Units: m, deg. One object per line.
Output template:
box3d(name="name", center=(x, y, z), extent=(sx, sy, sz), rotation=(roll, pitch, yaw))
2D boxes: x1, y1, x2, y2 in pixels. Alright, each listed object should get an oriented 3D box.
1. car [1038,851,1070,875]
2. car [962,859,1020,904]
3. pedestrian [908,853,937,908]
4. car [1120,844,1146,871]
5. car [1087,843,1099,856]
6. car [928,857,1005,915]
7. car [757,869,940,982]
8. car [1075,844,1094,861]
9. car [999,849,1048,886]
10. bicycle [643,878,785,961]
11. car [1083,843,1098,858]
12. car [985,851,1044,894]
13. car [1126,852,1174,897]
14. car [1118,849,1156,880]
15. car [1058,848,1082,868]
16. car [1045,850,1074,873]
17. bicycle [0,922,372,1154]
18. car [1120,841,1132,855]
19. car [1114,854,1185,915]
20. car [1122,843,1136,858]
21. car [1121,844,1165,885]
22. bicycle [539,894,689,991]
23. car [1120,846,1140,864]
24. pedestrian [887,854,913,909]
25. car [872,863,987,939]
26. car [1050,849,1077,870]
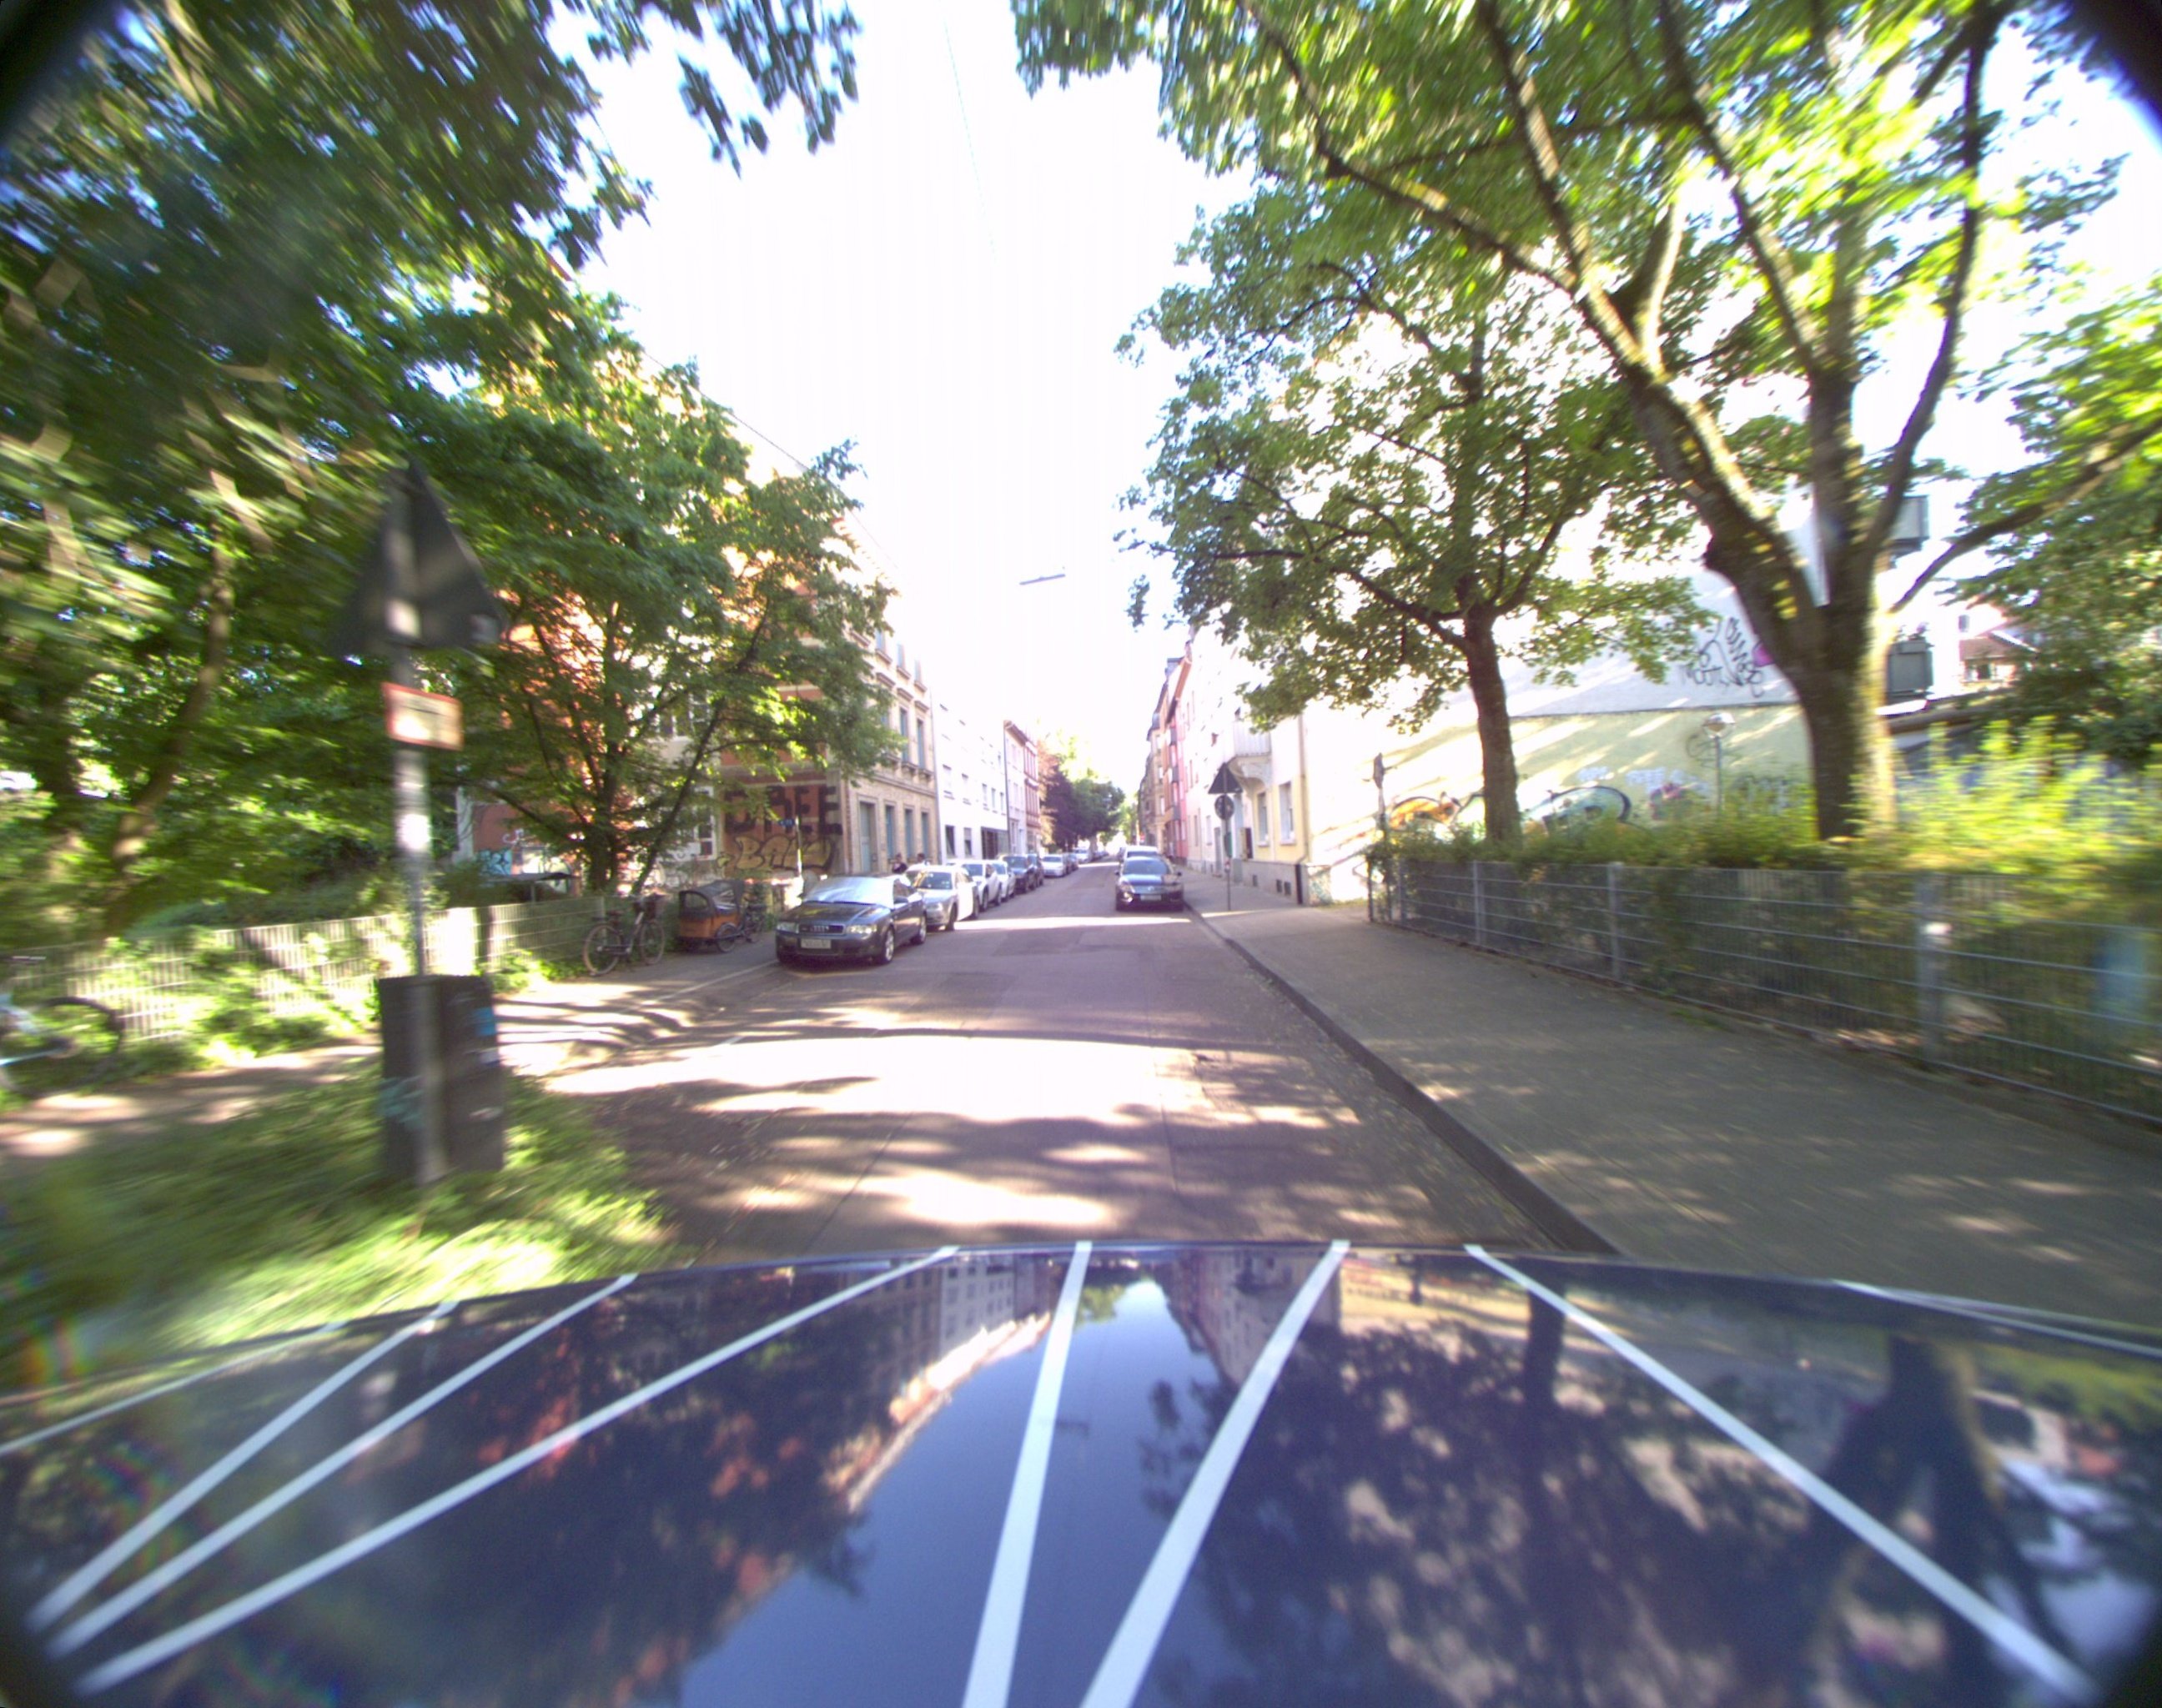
box3d(name="car", center=(-1.754, 0.557, 50.385), extent=(1.768, 1.509, 4.103), rotation=(0, 1, 3))
box3d(name="car", center=(-3.240, 0.961, 28.022), extent=(1.597, 1.442, 4.003), rotation=(-1, 1, 1))
box3d(name="pedestrian", center=(-5.026, 0.824, 24.087), extent=(0.712, 1.699, 0.752), rotation=(1, 1, 3))
box3d(name="car", center=(3.655, 0.230, 54.087), extent=(1.768, 1.814, 4.103), rotation=(0, 1, 3))
box3d(name="car", center=(1.836, -0.710, 117.052), extent=(1.768, 2.006, 4.264), rotation=(0, 1, 3))
box3d(name="car", center=(-3.459, 0.923, 23.550), extent=(1.597, 1.576, 3.764), rotation=(-1, 1, 3))
box3d(name="car", center=(-3.848, 1.107, 13.442), extent=(1.725, 1.485, 4.414), rotation=(-1, 1, 2))
box3d(name="car", center=(0.436, -0.210, 91.838), extent=(1.865, 1.970, 4.482), rotation=(0, 1, 6))
box3d(name="car", center=(-2.797, 0.624, 37.844), extent=(1.885, 1.657, 4.328), rotation=(0, 1, 3))
box3d(name="bicycle", center=(-6.665, 1.152, 14.013), extent=(1.293, 1.294, 2.327), rotation=(0, 1, 6))
box3d(name="car", center=(1.266, -0.512, 98.398), extent=(1.768, 1.846, 4.286), rotation=(-2, 1, 3))
box3d(name="car", center=(-2.791, 0.734, 32.673), extent=(1.770, 1.657, 4.329), rotation=(-2, 1, 5))
box3d(name="car", center=(2.448, 0.675, 27.145), extent=(1.597, 1.442, 3.486), rotation=(0, 1, 5))
box3d(name="car", center=(2.969, 0.498, 39.642), extent=(1.674, 1.519, 4.087), rotation=(0, 1, 8))
box3d(name="car", center=(-0.941, 0.311, 64.562), extent=(1.768, 1.525, 4.103), rotation=(0, 1, 3))
box3d(name="car", center=(-1.528, 0.483, 54.964), extent=(1.768, 1.525, 4.103), rotation=(-1, 1, 3))
box3d(name="bicycle", center=(-7.295, 1.301, 5.896), extent=(0.848, 1.260, 2.693), rotation=(-2, 0, 5))
box3d(name="car", center=(7.044, -0.965, 118.894), extent=(1.768, 2.075, 4.264), rotation=(0, 1, 3))
box3d(name="car", center=(1.841, 0.769, 21.388), extent=(1.783, 1.435, 4.392), rotation=(0, 1, 3))
box3d(name="car", center=(6.127, -0.455, 98.143), extent=(1.768, 1.846, 3.993), rotation=(0, 1, 3))
box3d(name="car", center=(2.761, 0.421, 34.707), extent=(1.753, 1.731, 4.314), rotation=(0, 1, 2))
box3d(name="bicycle", center=(-6.903, 1.267, 11.379), extent=(0.848, 1.194, 1.982), rotation=(-2, 0, 5))
box3d(name="car", center=(4.446, 0.072, 69.283), extent=(1.768, 1.525, 4.103), rotation=(0, 1, 3))
box3d(name="pedestrian", center=(-5.717, 0.865, 24.003), extent=(0.598, 1.699, 0.706), rotation=(1, 1, 3))
box3d(name="car", center=(-3.512, 1.044, 18.460), extent=(1.663, 1.485, 4.354), rotation=(-1, 1, 3))
box3d(name="car", center=(-1.355, 0.388, 59.426), extent=(1.768, 1.525, 4.103), rotation=(-1, 1, 3))
